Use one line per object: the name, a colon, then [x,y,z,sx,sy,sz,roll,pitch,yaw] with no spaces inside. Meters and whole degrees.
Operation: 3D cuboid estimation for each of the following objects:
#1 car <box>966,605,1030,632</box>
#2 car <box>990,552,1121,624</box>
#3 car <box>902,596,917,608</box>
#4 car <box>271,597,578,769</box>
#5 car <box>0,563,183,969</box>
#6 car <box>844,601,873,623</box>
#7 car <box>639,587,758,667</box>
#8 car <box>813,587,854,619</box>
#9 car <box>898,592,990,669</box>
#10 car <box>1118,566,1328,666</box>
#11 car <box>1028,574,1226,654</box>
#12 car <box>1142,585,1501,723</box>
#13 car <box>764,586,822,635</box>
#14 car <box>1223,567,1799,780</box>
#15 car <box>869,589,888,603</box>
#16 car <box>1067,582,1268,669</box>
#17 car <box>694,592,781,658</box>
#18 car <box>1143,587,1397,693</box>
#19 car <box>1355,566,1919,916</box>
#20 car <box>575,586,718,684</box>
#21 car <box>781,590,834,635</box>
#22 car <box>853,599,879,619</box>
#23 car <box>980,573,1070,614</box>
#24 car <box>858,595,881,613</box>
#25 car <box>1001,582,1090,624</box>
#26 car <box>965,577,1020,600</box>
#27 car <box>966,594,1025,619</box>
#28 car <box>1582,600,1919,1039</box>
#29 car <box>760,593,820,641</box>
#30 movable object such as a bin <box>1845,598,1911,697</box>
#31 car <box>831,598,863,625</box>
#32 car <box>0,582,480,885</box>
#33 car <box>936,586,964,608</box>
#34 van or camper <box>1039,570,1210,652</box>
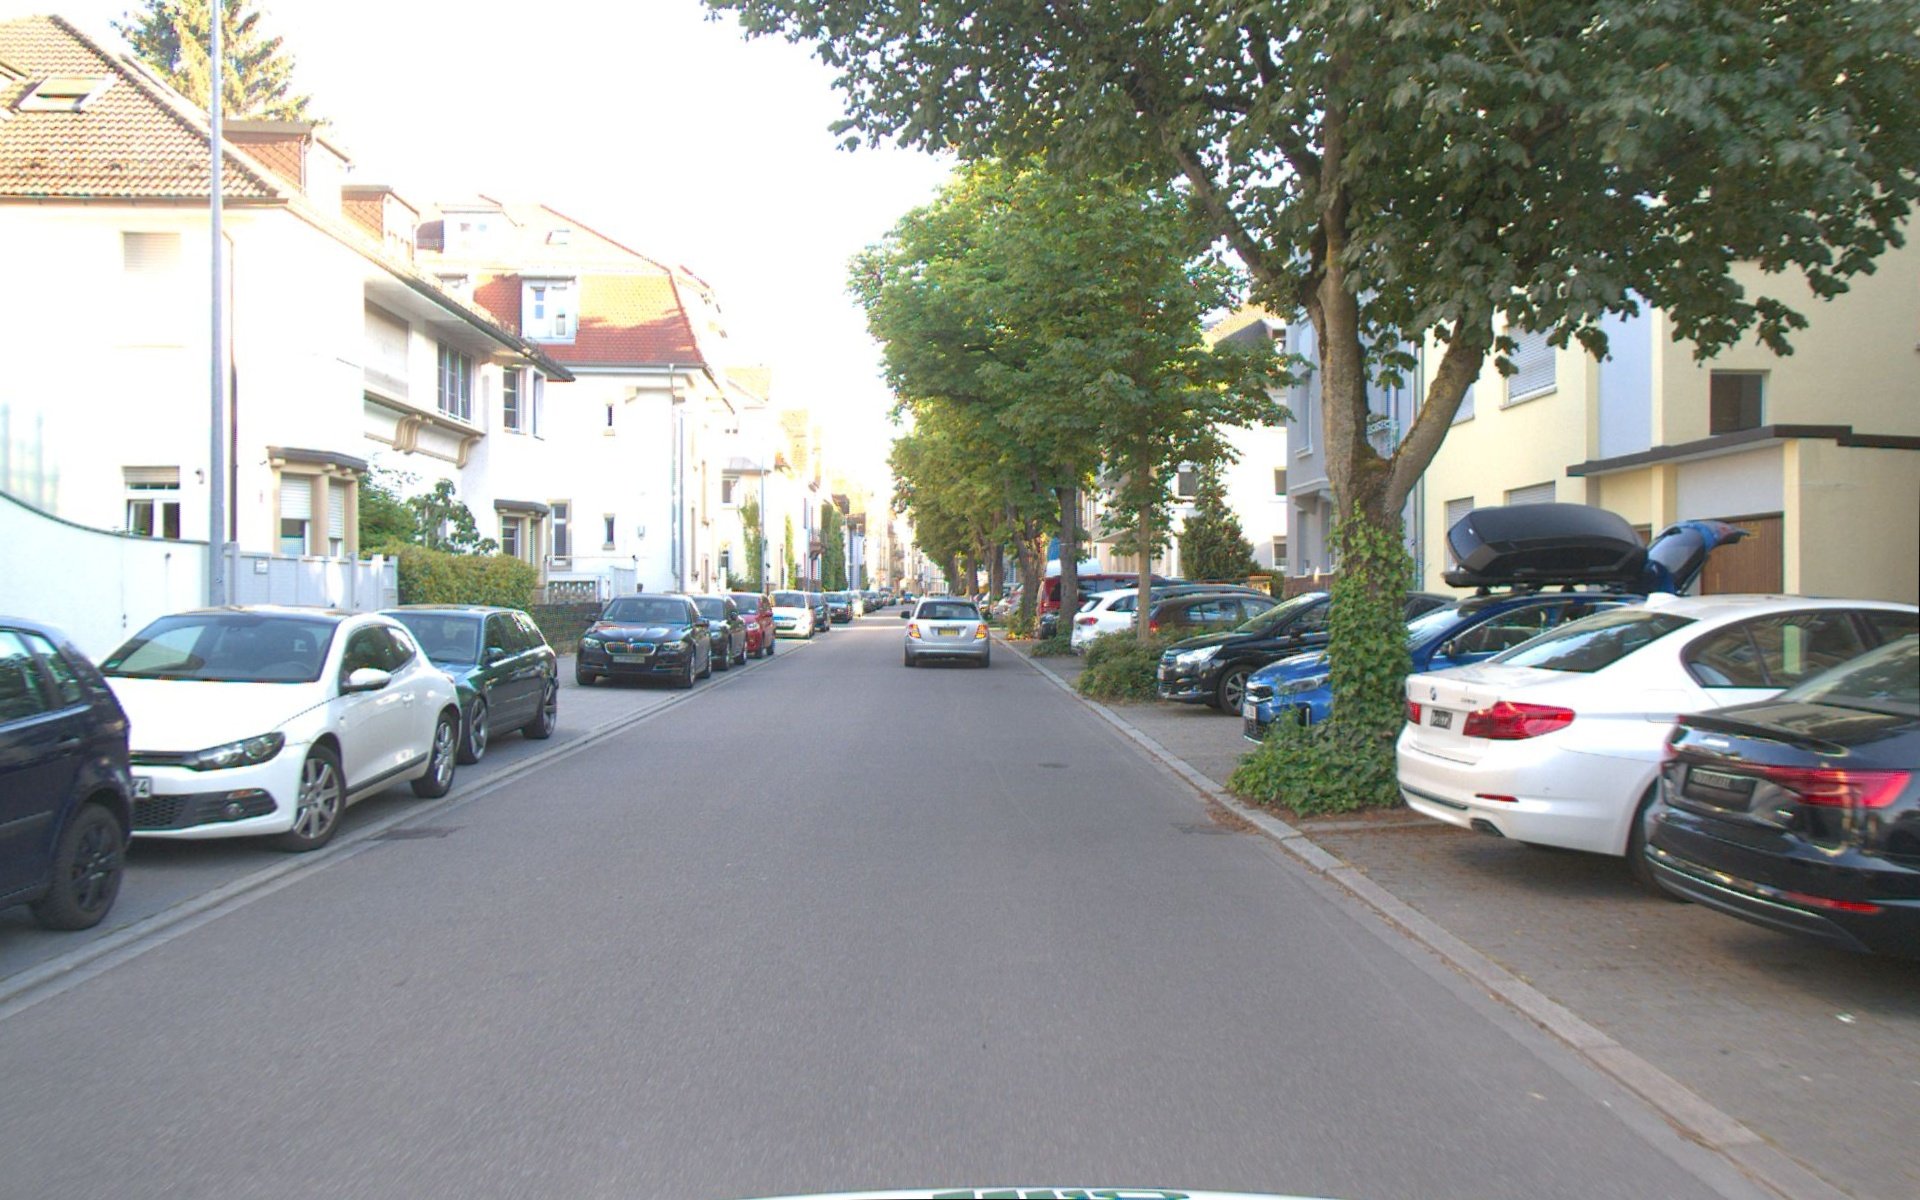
car: [2.239,1.100,98.513,3.766,1.508,1.805,-1,1,0]
car: [4.119,-0.541,72.031,5.432,3.020,2.470,-1,1,-4]
car: [-6.274,0.248,205.613,1.762,1.411,3.605,0,1,-1]
car: [-5.088,0.711,16.315,1.722,1.473,4.141,0,0,-1]
car: [-4.743,0.670,6.274,1.847,1.619,4.087,0,0,-3]
car: [-6.872,0.774,112.146,1.762,1.411,3.605,0,1,-1]
car: [-5.255,0.514,33.796,1.747,1.524,4.699,0,0,-1]
car: [-6.207,0.145,81.540,1.762,1.508,3.856,0,1,-1]
car: [-0.280,0.609,34.668,1.779,1.498,4.217,0,0,1]
car: [4.708,0.275,29.916,3.476,1.683,1.724,-1,0,-2]
car: [3.963,0.327,39.780,4.532,1.868,1.953,0,0,-2]
car: [4.496,0.643,20.977,4.106,1.585,1.873,-1,0,-2]
car: [-5.932,0.391,59.076,1.762,1.673,3.855,0,-1,-1]
car: [4.705,0.593,14.561,4.435,1.669,1.873,-1,0,-2]
car: [-8.052,-0.411,163.136,1.762,1.411,3.605,0,1,-1]
car: [4.019,0.474,32.388,3.655,1.585,1.724,-1,0,-2]
car: [-5.249,0.564,39.405,1.625,1.514,3.753,0,0,-1]
car: [5.011,0.630,27.107,3.844,1.585,1.725,-1,1,0]
car: [4.649,0.634,9.125,4.392,1.552,1.951,-2,1,-7]
car: [-5.187,0.537,27.908,1.817,1.524,4.651,0,0,-4]
car: [-5.860,0.451,63.841,1.762,1.673,3.856,0,1,-1]
car: [-6.899,0.669,121.373,1.762,1.411,3.605,0,1,-1]
car: [3.326,-0.352,85.107,4.428,2.049,2.250,-1,1,-3]
car: [-7.260,0.314,133.116,1.762,1.411,3.605,0,1,-1]
car: [3.553,0.117,69.081,3.523,1.688,1.649,-1,1,-3]
car: [2.259,-0.821,115.687,3.766,1.508,1.805,-1,1,0]
car: [2.295,0.417,106.677,3.766,1.508,1.805,-1,1,0]
car: [4.866,0.726,6.675,4.059,1.473,1.672,-2,0,-2]
car: [-5.524,0.538,54.212,1.625,1.526,3.753,0,0,-1]
movable object such as a bin: [10.391,0.531,18.734,0.446,1.105,0.532,0,-1,-1]
car: [-6.680,0.670,98.052,1.762,1.508,3.856,0,1,-1]
car: [-4.596,0.705,10.963,1.847,1.619,4.087,0,0,-3]
car: [-0.681,-0.195,115.714,1.779,1.498,4.217,0,0,1]
van or camper: [4.151,0.266,42.314,4.223,2.049,2.001,0,0,2]
